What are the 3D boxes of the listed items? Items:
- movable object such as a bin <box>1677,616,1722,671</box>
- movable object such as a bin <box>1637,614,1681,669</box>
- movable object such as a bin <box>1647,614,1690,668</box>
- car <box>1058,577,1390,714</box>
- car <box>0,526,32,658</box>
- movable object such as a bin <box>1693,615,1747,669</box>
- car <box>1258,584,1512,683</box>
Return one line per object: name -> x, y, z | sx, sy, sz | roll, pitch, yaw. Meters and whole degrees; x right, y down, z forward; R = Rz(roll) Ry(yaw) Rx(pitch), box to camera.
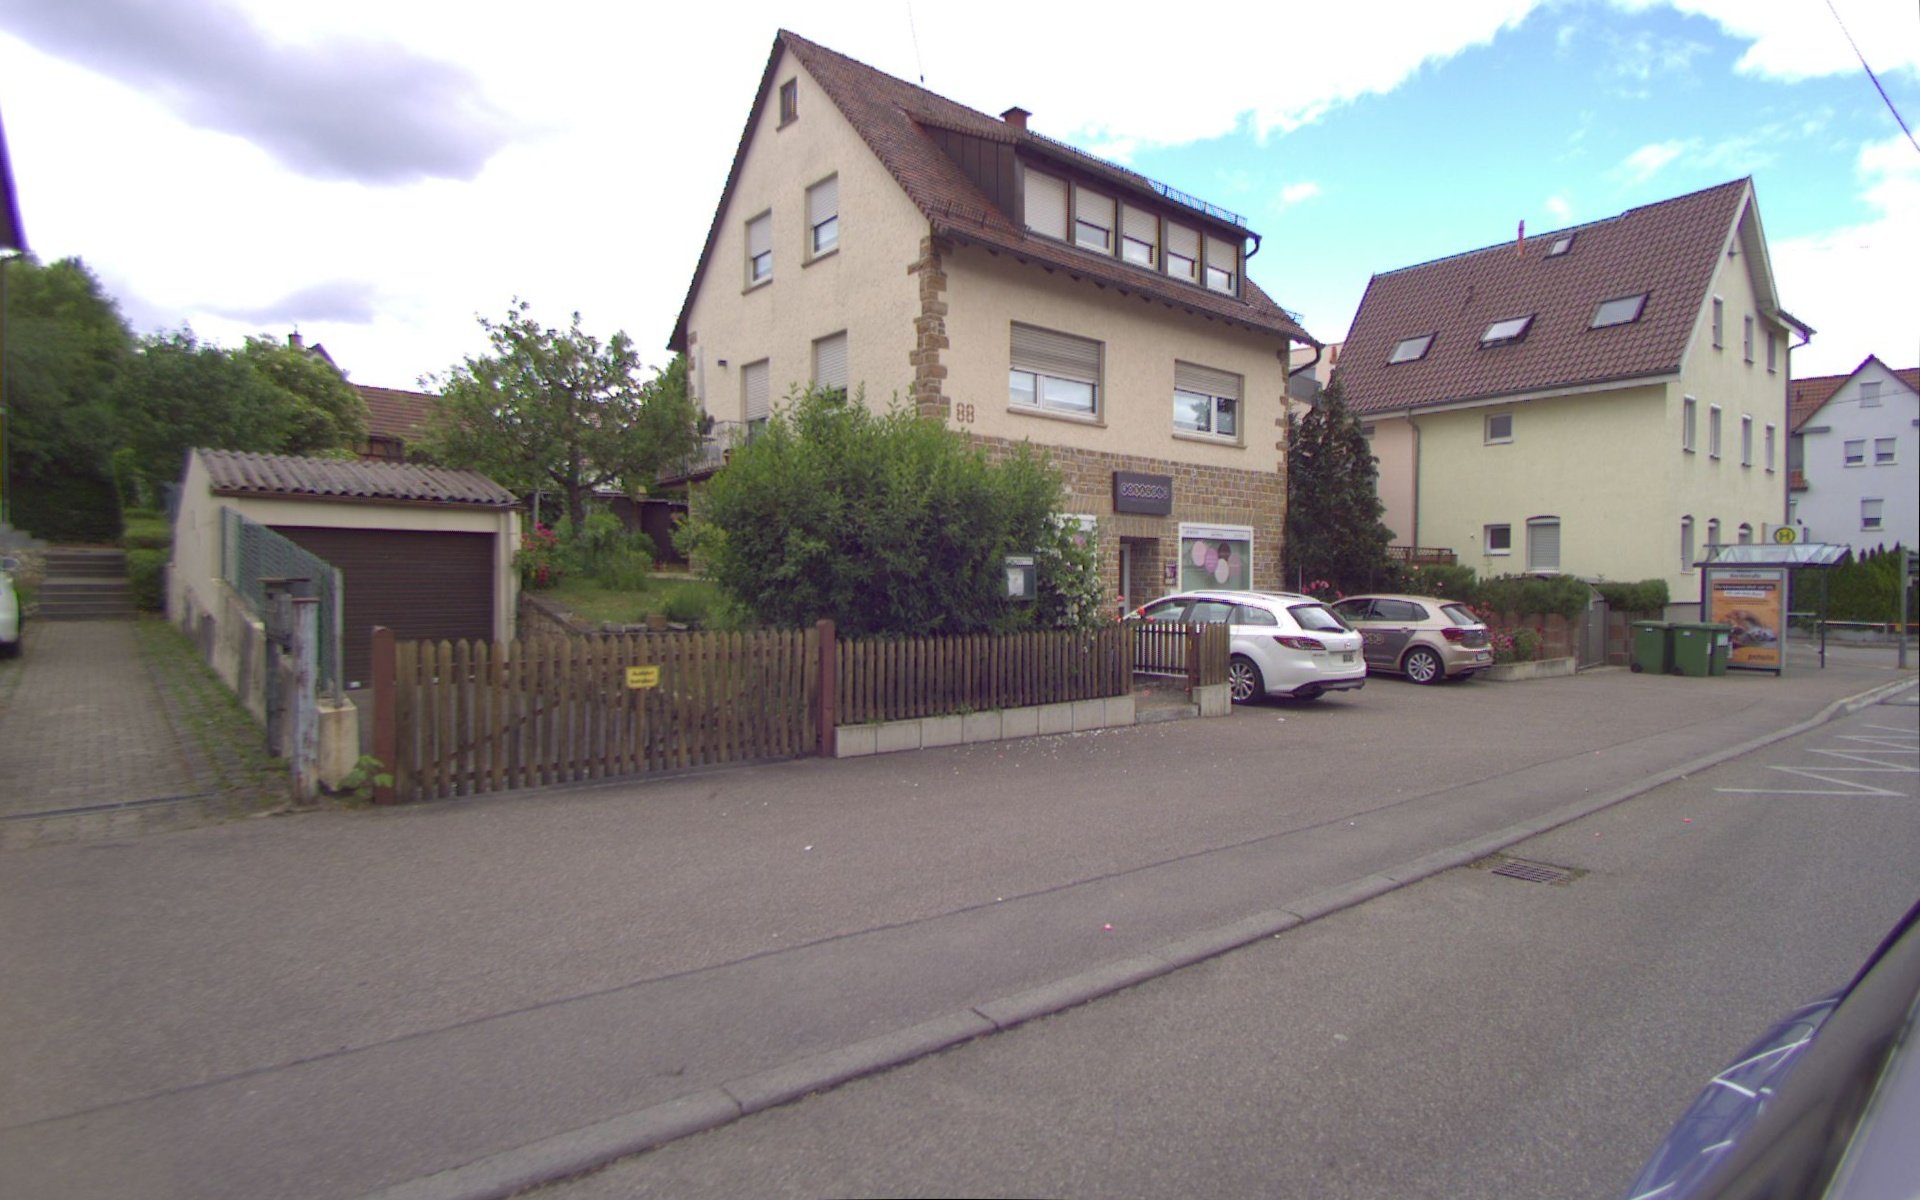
movable object such as a bin -> 14.745, 0.853, 20.186 | 0.636, 1.060, 0.576 | -1, 0, 45
movable object such as a bin -> 14.274, 0.841, 20.674 | 0.636, 1.059, 0.576 | 1, 1, 45
movable object such as a bin -> 14.764, 0.847, 21.094 | 0.636, 1.059, 0.576 | 1, 1, 45
car -> 3.619, 0.502, 14.616 | 1.831, 1.506, 4.433 | -1, 3, -37
car -> -12.310, -0.073, 11.917 | 1.807, 1.411, 4.084 | -7, 7, -44
movable object such as a bin -> 15.415, 0.836, 20.532 | 0.579, 1.060, 0.639 | 0, 0, -13
car -> 7.436, 0.500, 17.975 | 1.613, 1.418, 3.810 | -1, 4, -42
